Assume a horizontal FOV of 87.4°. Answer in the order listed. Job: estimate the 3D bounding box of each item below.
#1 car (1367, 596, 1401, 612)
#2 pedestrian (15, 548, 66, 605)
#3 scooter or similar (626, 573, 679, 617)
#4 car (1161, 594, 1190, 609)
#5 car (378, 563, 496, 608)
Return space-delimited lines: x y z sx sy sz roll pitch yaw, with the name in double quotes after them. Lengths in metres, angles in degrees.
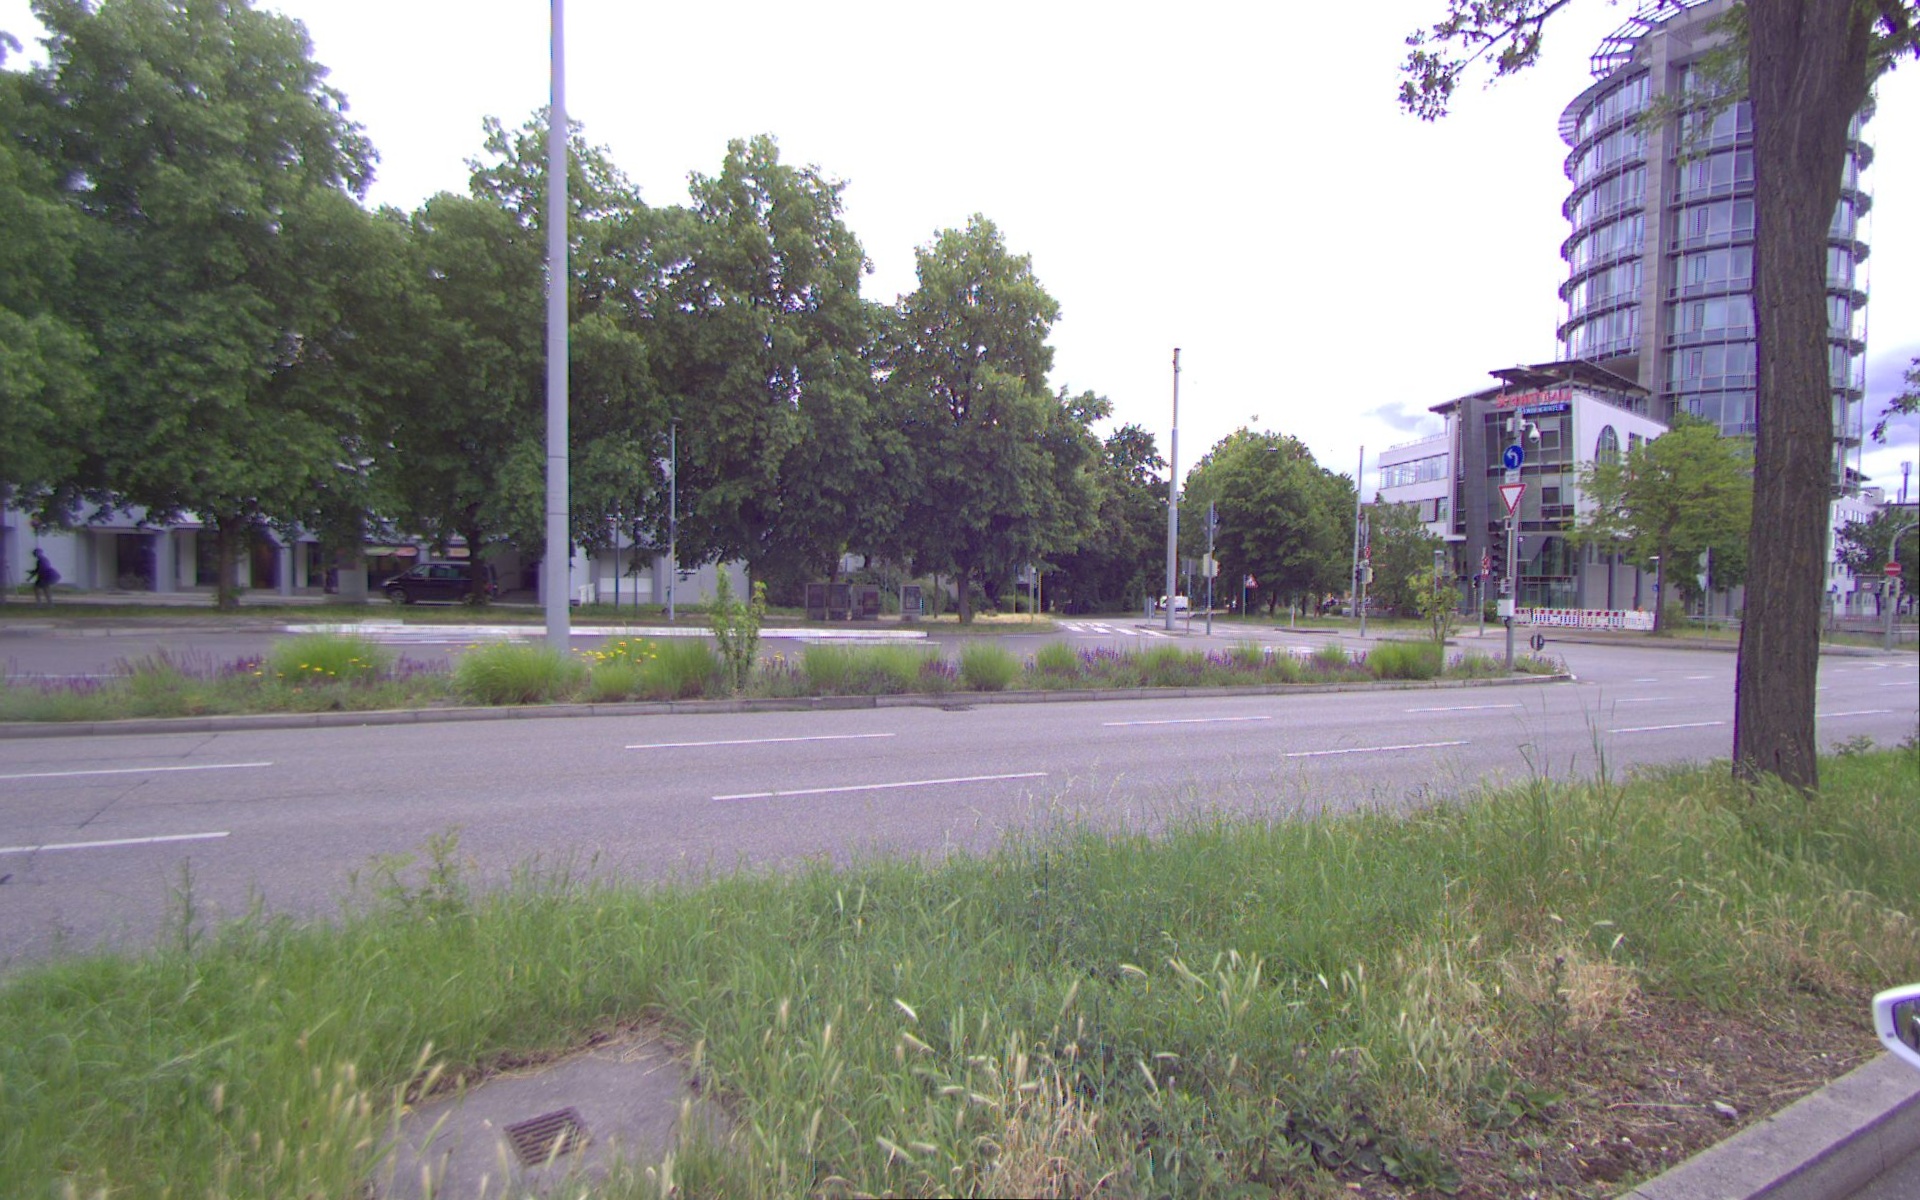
25.041 0.234 59.392 1.684 0.888 0.776 1 0 7 "car"
-25.981 -0.652 28.404 0.894 1.578 0.766 1 1 -30 "pedestrian"
-11.871 -0.182 38.850 1.835 1.686 0.645 1 1 -43 "scooter or similar"
37.730 0.252 175.672 4.475 2.370 1.994 2 0 -16 "car"
-23.318 -0.637 44.948 4.345 1.872 1.781 1 1 -16 "car"
